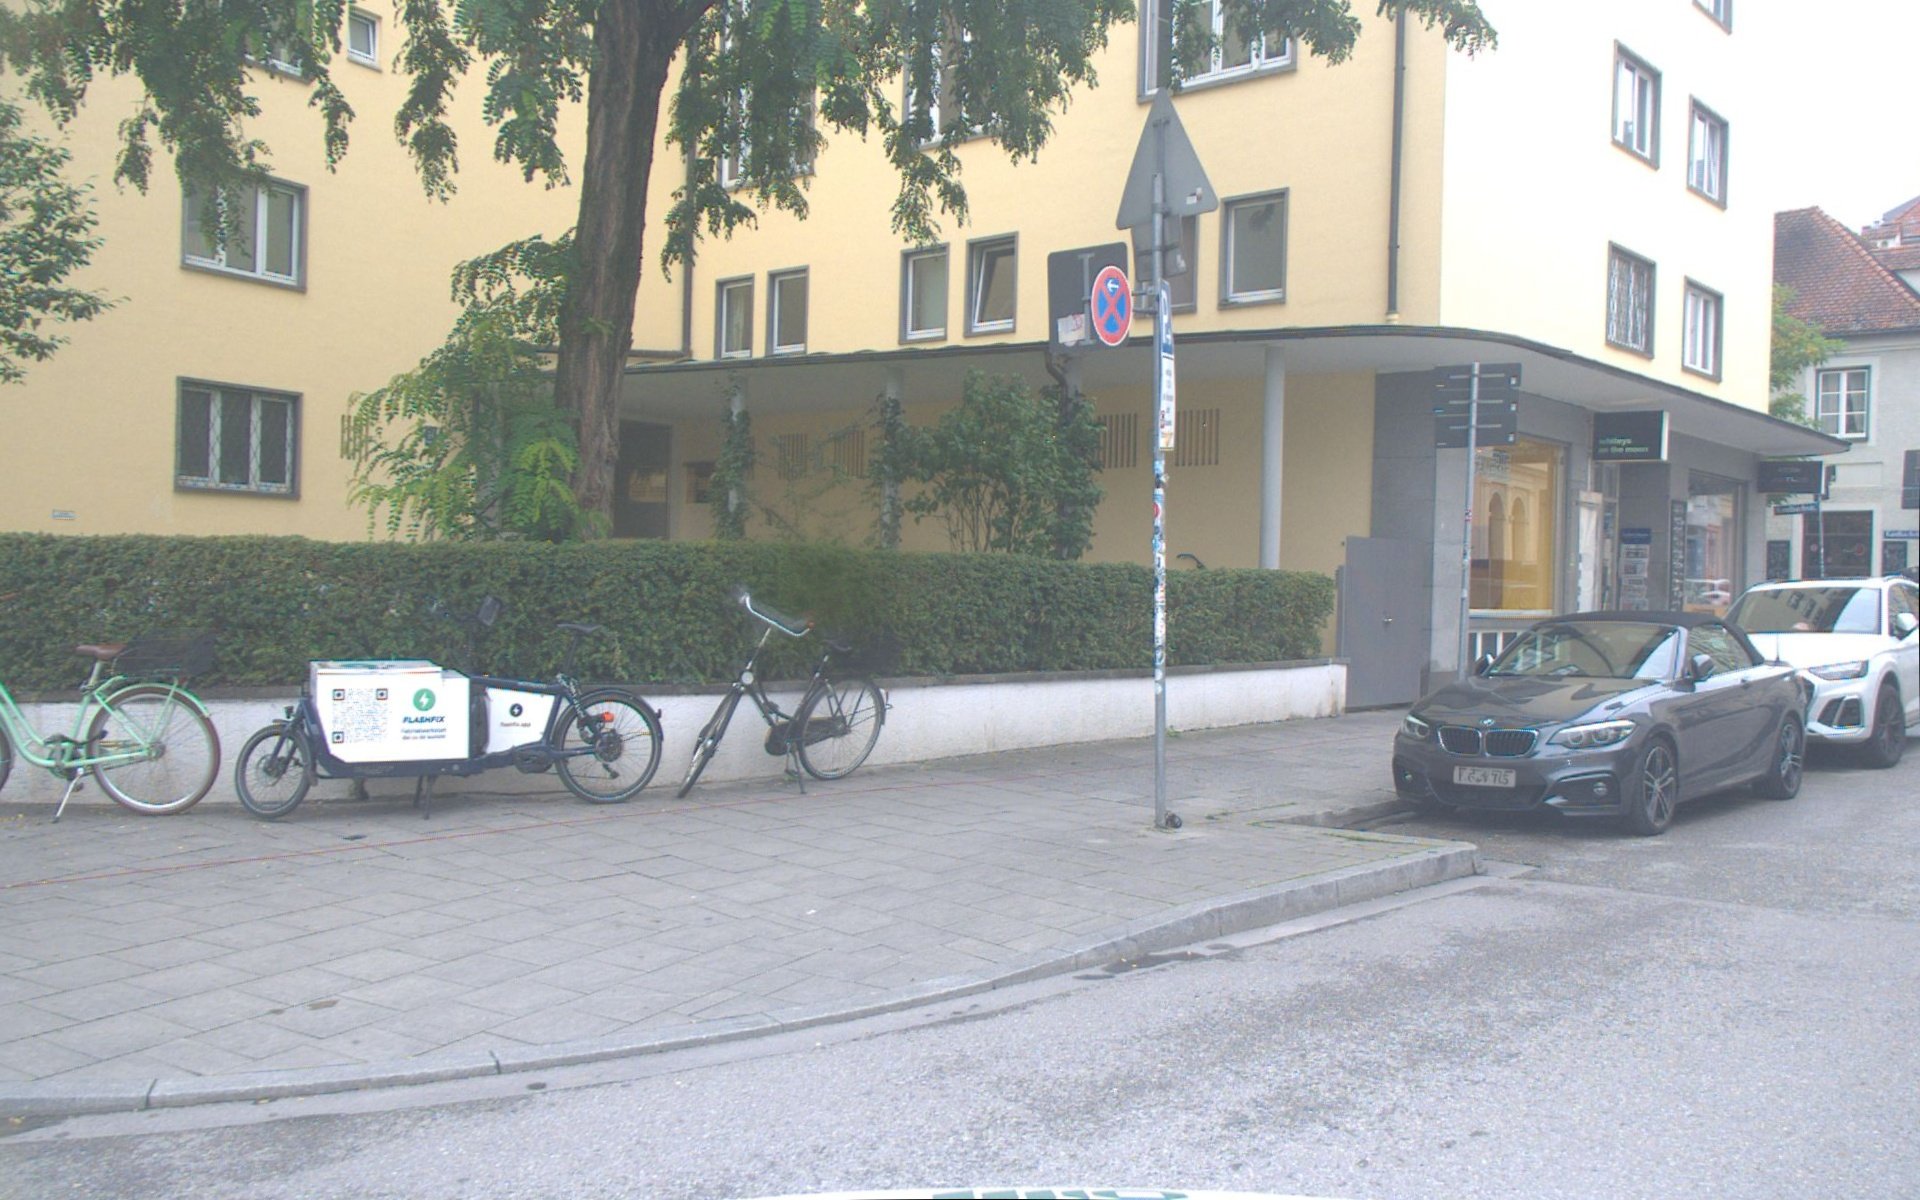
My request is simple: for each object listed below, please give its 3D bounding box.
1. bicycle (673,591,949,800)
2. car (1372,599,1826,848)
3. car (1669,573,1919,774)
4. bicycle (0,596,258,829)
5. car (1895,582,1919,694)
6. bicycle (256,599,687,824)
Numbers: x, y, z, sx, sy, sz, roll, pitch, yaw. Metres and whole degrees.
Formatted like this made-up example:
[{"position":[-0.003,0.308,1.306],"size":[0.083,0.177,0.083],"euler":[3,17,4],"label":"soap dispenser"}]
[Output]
[{"position":[-0.927,0.573,10.729],"size":[0.554,1.231,1.841],"euler":[3,2,45],"label":"bicycle"},{"position":[4.741,0.736,11.941],"size":[1.720,1.435,4.073],"euler":[0,1,42],"label":"car"},{"position":[8.512,0.583,15.953],"size":[1.777,1.611,4.311],"euler":[0,1,42],"label":"car"},{"position":[-4.876,0.585,8.941],"size":[1.905,1.176,0.584],"euler":[1,2,2],"label":"bicycle"},{"position":[14.542,0.492,23.138],"size":[1.655,1.497,4.070],"euler":[0,0,43],"label":"car"},{"position":[-2.725,0.598,9.314],"size":[2.259,1.145,0.579],"euler":[1,2,-24],"label":"bicycle"}]
